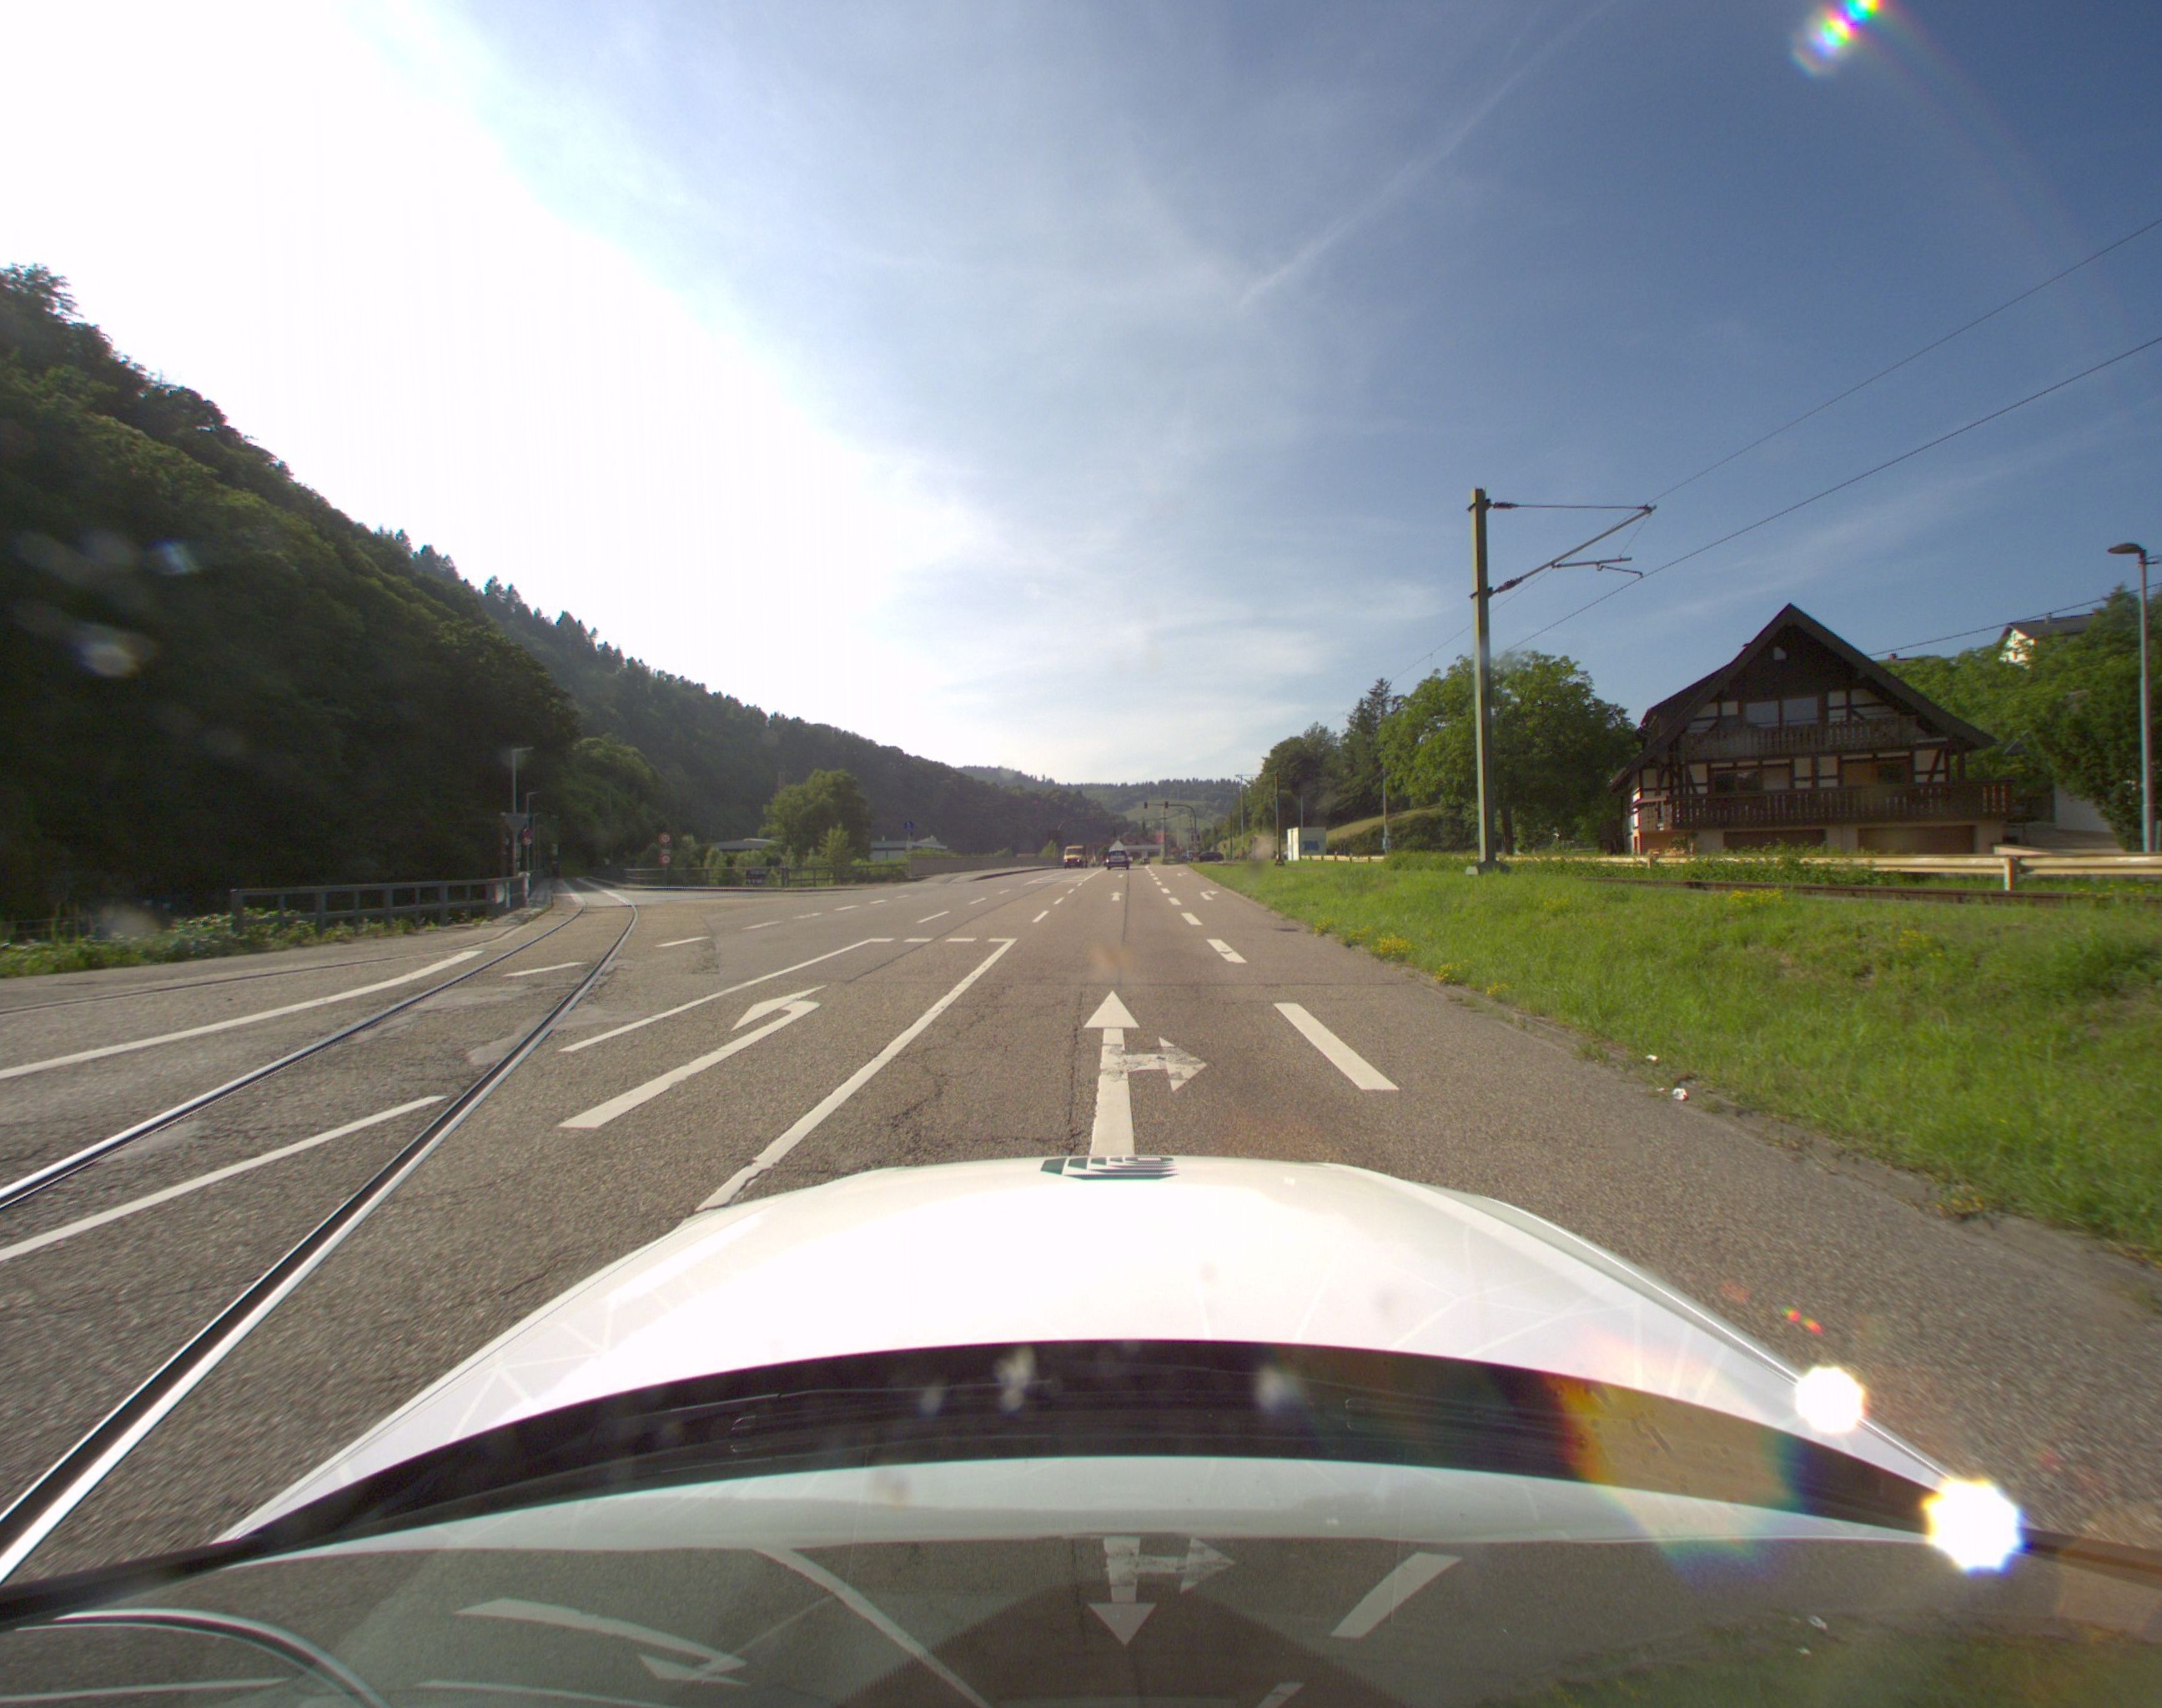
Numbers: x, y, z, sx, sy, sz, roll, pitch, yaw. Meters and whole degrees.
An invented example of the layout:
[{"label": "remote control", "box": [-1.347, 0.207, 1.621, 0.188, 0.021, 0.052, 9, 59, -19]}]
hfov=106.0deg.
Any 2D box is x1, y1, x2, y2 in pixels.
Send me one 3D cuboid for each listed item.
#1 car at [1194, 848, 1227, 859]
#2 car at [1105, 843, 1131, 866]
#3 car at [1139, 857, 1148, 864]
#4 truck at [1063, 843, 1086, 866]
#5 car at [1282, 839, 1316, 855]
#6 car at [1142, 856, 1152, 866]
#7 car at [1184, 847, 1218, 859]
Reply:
[{"label": "car", "box": [16.650, -0.103, 104.666, 3.955, 1.354, 1.886, -1, 0, 18]}, {"label": "car", "box": [2.969, 0.070, 66.217, 1.986, 1.723, 3.991, -3, 0, 1]}, {"label": "car", "box": [14.892, 1.513, 193.997, 1.985, 1.618, 4.003, -2, 0, 3]}, {"label": "truck", "box": [-0.645, 0.032, 84.971, 1.985, 2.343, 5.703, -1, 0, 3]}, {"label": "car", "box": [27.414, -0.843, 102.543, 3.955, 1.881, 1.886, -1, 0, 18]}, {"label": "car", "box": [14.643, 1.601, 180.187, 1.985, 2.013, 4.003, -2, 0, 3]}, {"label": "car", "box": [15.146, -0.162, 102.503, 3.955, 1.354, 1.886, -1, 0, 18]}]
